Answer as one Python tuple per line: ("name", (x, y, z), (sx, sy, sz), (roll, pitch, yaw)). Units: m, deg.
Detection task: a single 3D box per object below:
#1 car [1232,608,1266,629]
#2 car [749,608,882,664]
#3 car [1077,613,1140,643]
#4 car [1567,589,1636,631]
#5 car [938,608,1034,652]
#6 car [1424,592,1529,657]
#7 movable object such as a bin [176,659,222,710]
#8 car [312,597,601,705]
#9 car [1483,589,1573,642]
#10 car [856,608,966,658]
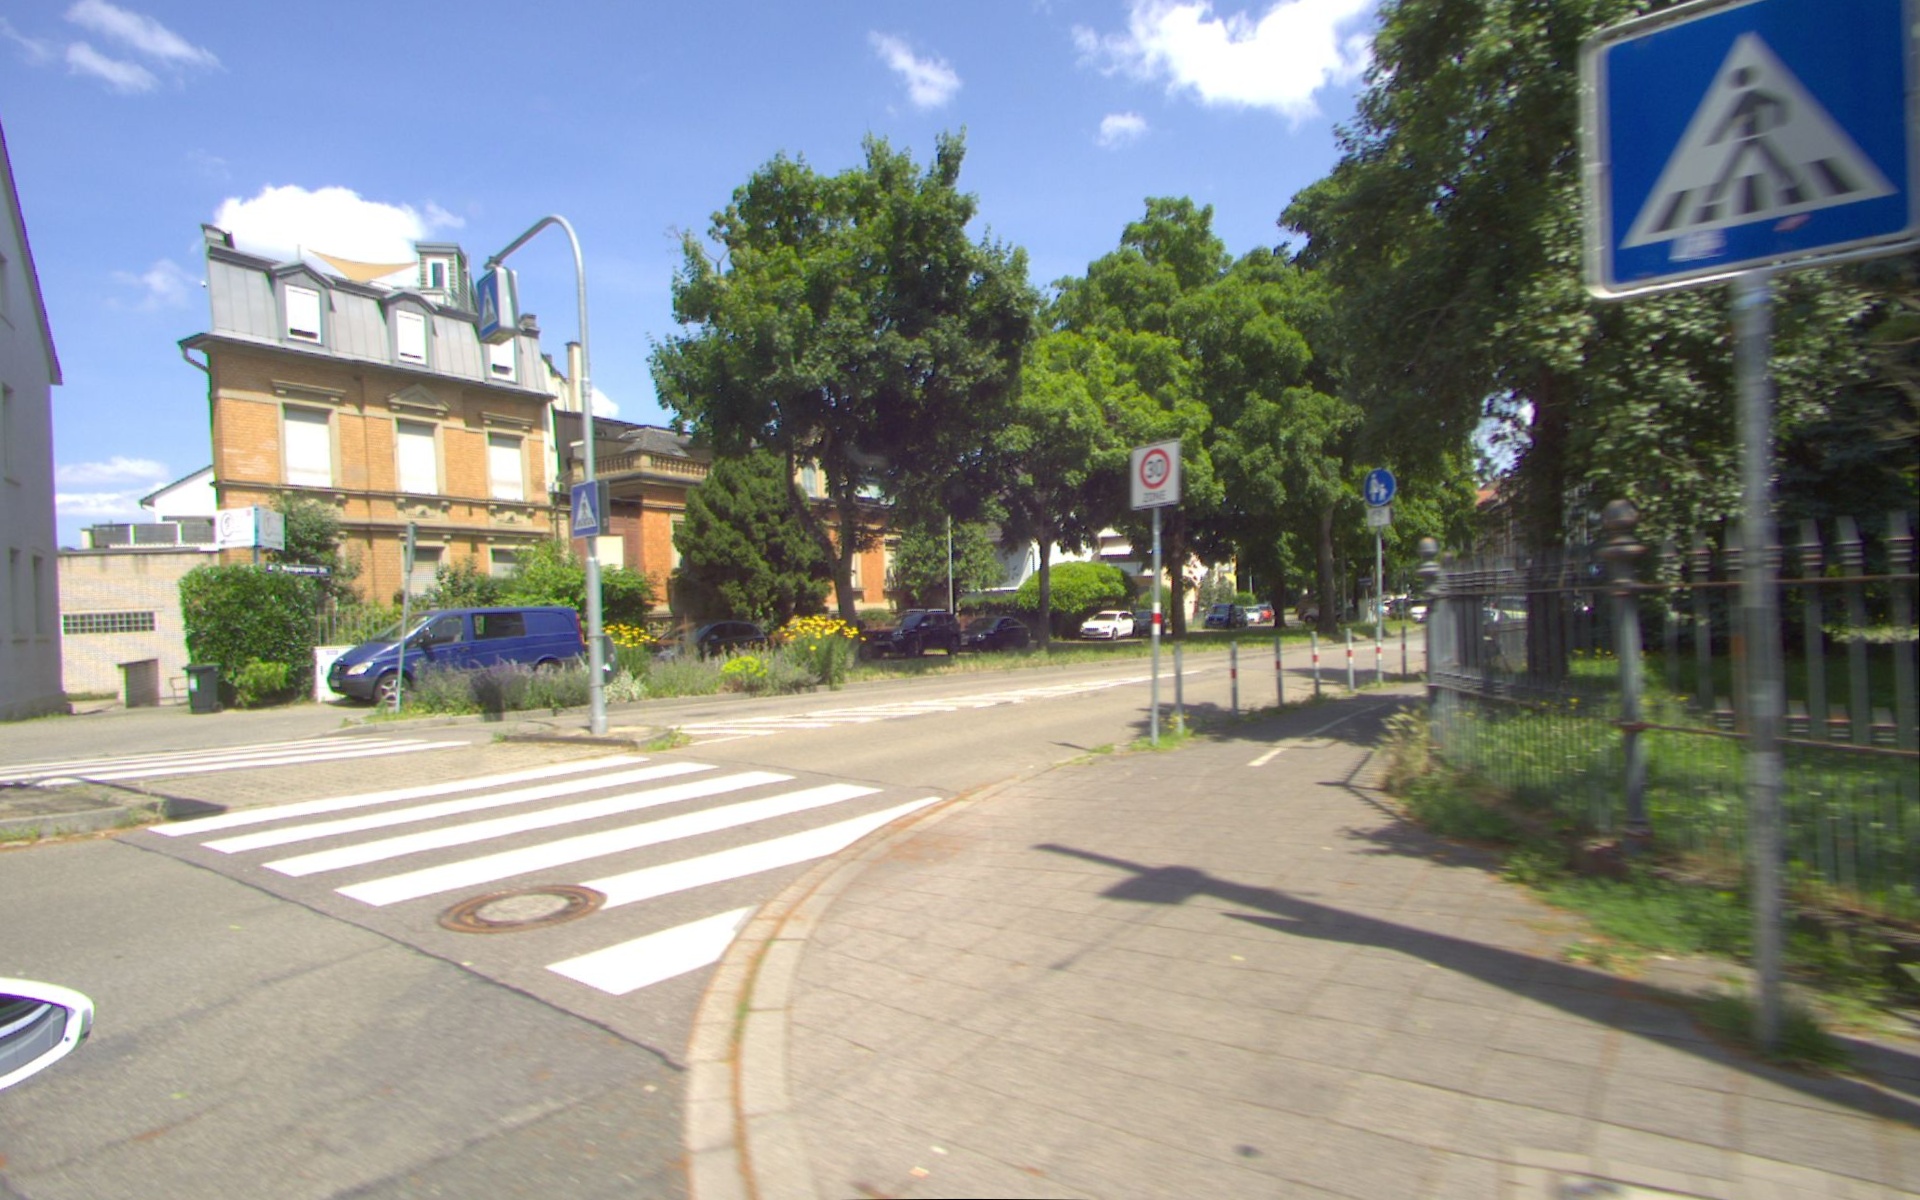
("car", (21.940, 1.434, 75.955), (1.492, 1.410, 4.441), (-3, -3, 29))
("car", (-4.499, 1.136, 31.761), (1.835, 1.610, 4.222), (-4, -3, 33))
("car", (7.676, 1.448, 51.375), (1.493, 1.410, 4.436), (-4, -3, 32))
("car", (24.530, 0.409, 38.243), (1.590, 1.458, 3.699), (-4, -4, 41))
("car", (1.114, 1.238, 40.614), (1.835, 1.610, 4.436), (-4, -3, 33))
("car", (13.854, 0.632, 26.781), (1.588, 1.573, 3.700), (3, 1, 41))
("movable object such as a bin", (-14.301, 1.584, 18.825), (0.549, 0.927, 0.420), (-2, -2, 7))
("car", (-10.724, 0.976, 21.706), (2.059, 1.973, 5.199), (-1, 1, 40))
("car", (17.261, 0.498, 30.381), (1.590, 1.458, 3.699), (-4, -4, 41))
("car", (-1.690, 1.200, 36.057), (1.835, 1.610, 4.222), (-4, -3, 33))
